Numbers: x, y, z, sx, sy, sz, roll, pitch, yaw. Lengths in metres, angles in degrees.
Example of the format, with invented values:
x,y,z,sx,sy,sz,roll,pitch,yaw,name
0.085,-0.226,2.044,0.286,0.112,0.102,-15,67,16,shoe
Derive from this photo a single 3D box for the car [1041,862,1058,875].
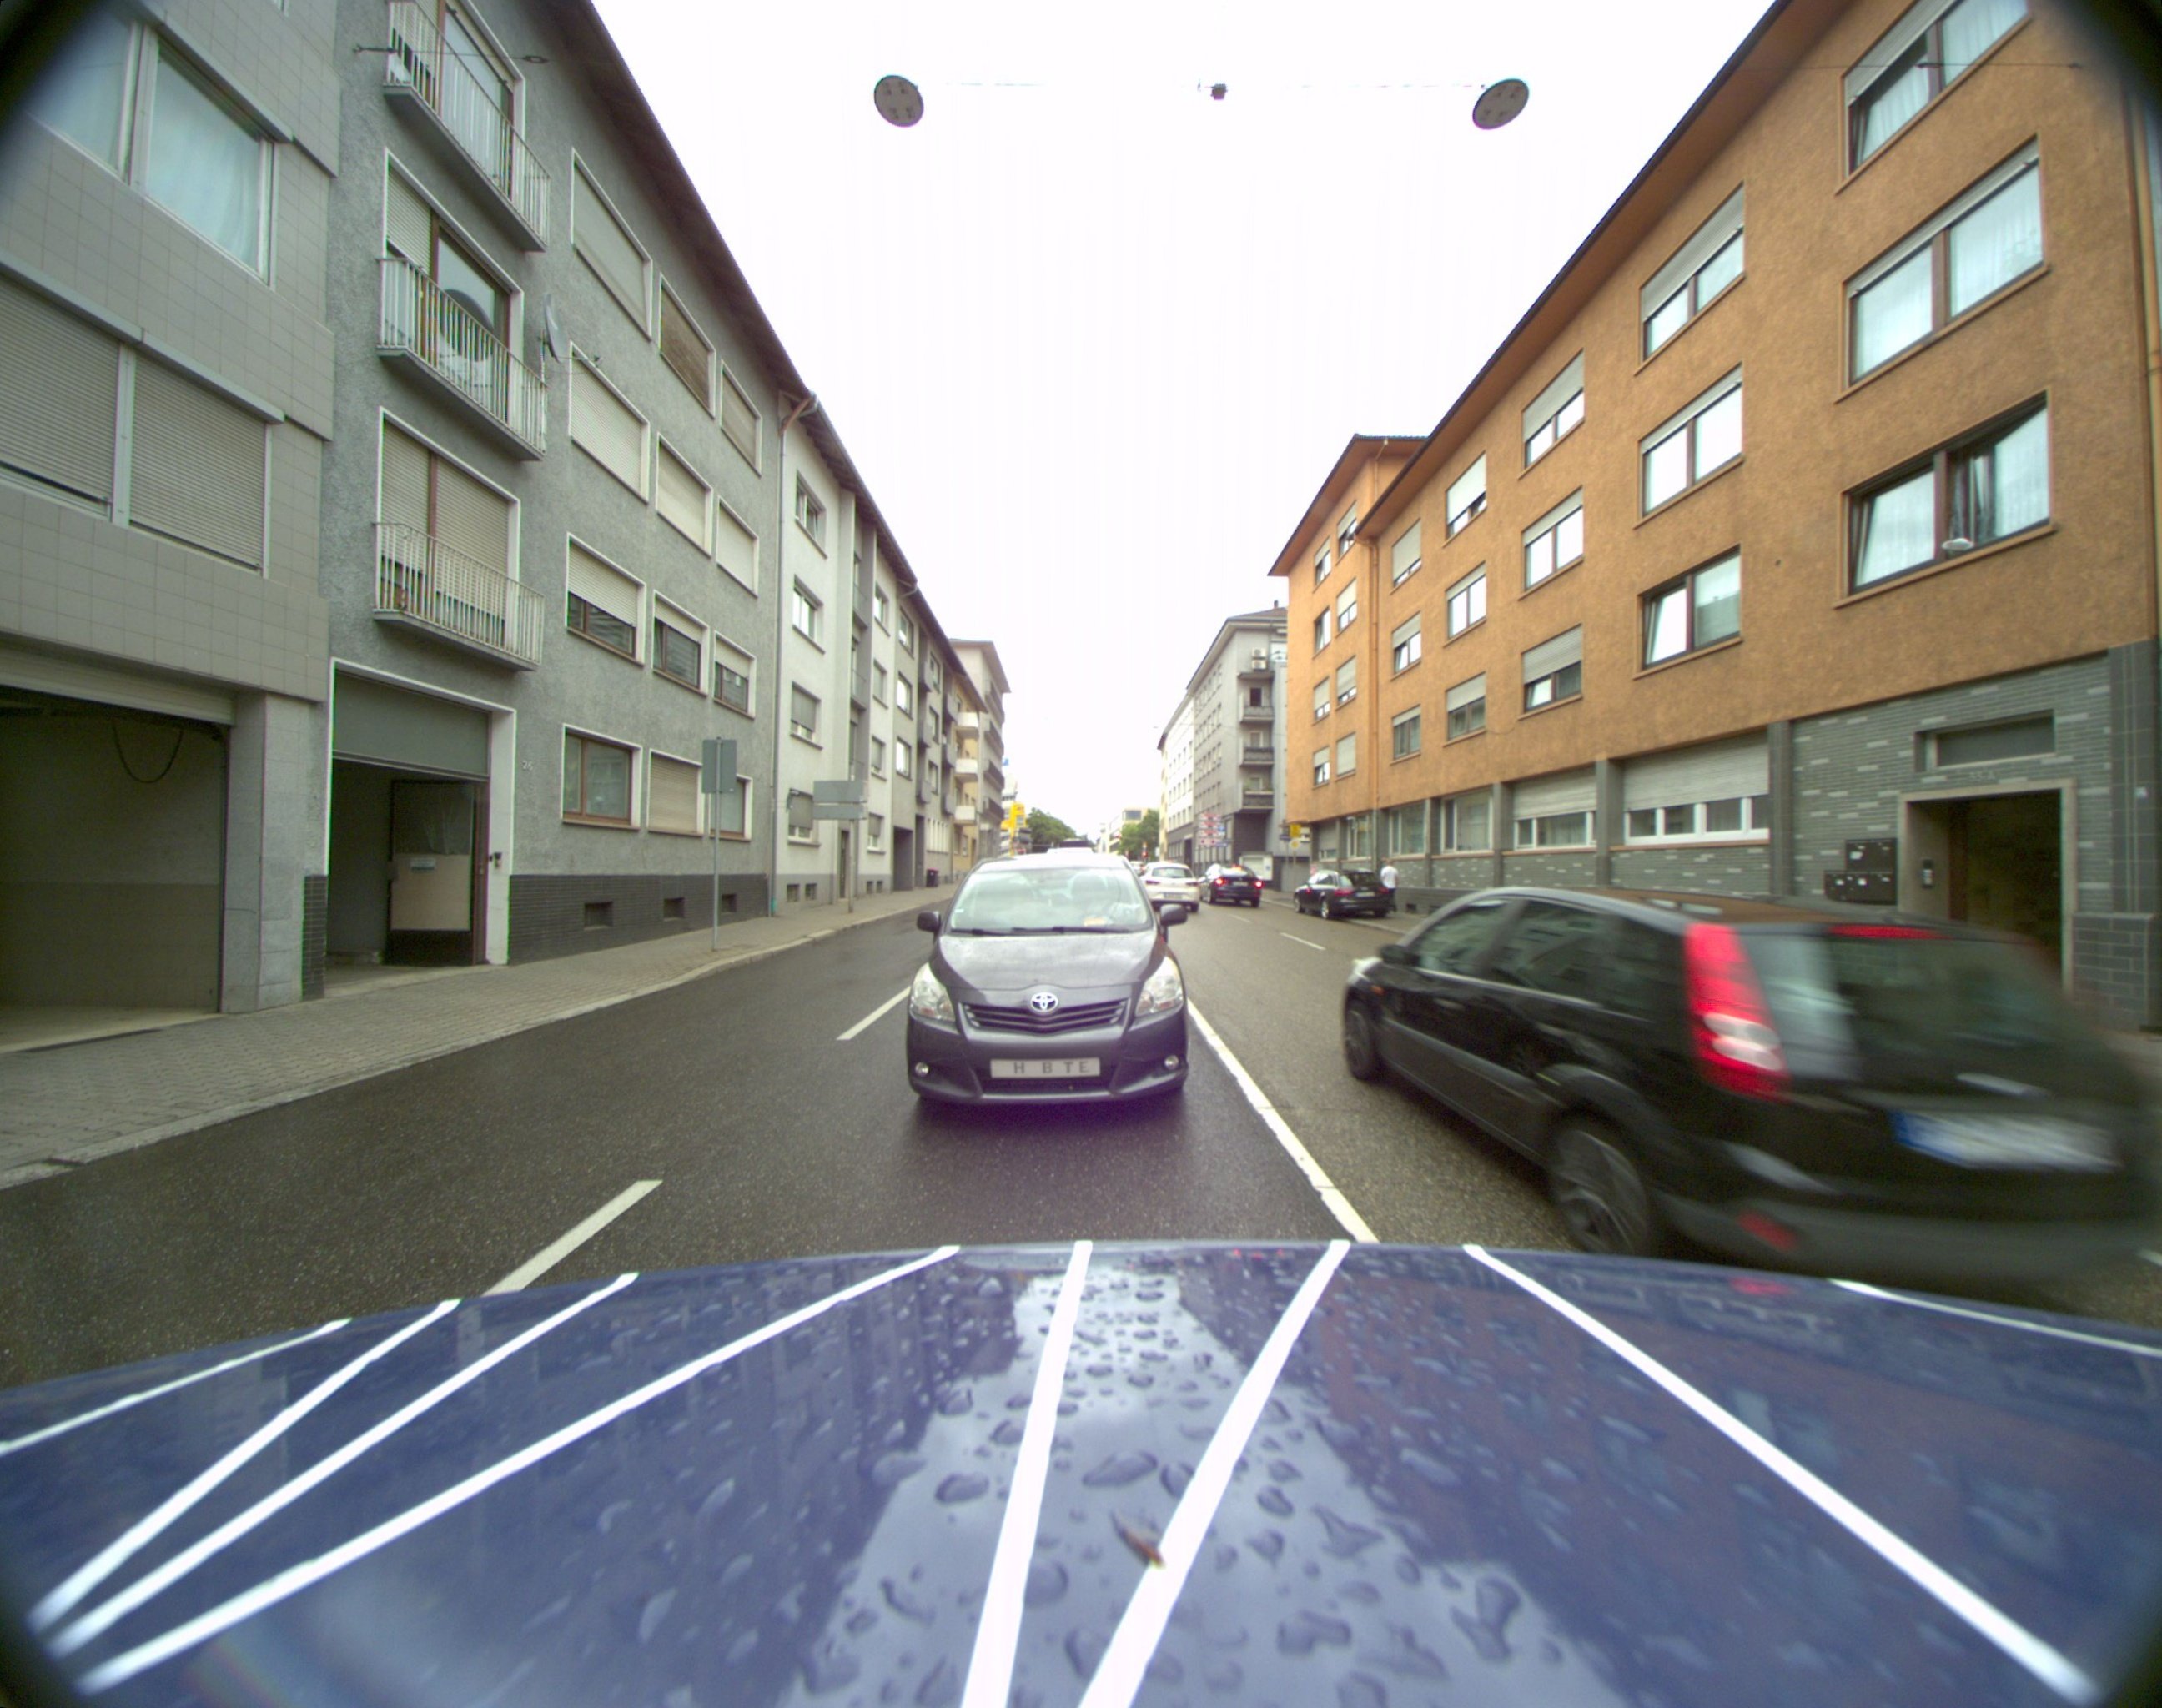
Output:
x,y,z,sx,sy,sz,roll,pitch,yaw,name
-3.812,1.796,92.952,1.856,1.369,4.217,-2,1,1,car

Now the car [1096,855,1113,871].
x,y,z,sx,sy,sz,roll,pitch,yaw,name
2.853,1.062,92.793,1.856,1.712,4.217,-2,1,1,car

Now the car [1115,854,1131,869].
x,y,z,sx,sy,sz,roll,pitch,yaw,name
5.363,0.912,97.371,1.856,1.712,4.217,-2,1,1,car

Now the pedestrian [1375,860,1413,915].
x,y,z,sx,sy,sz,roll,pitch,yaw,name
9.638,1.019,23.438,0.768,1.630,1.023,-2,1,5,pedestrian

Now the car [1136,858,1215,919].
x,y,z,sx,sy,sz,roll,pitch,yaw,name
2.682,0.932,22.497,1.749,1.530,4.052,2,1,-1,car

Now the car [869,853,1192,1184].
x,y,z,sx,sy,sz,roll,pitch,yaw,name
-0.246,0.899,6.259,1.699,1.712,4.217,-2,1,1,car

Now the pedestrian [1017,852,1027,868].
x,y,z,sx,sy,sz,roll,pitch,yaw,name
-6.587,0.694,84.382,1.119,1.741,0.961,1,1,-5,pedestrian

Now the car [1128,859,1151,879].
x,y,z,sx,sy,sz,roll,pitch,yaw,name
5.463,1.361,71.664,1.856,1.651,4.610,-2,1,1,car

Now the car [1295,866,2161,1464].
x,y,z,sx,sy,sz,roll,pitch,yaw,name
2.667,0.918,4.224,1.622,1.530,4.216,2,1,-1,car

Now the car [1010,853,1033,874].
x,y,z,sx,sy,sz,roll,pitch,yaw,name
-5.122,0.791,65.893,1.856,1.663,4.215,-2,1,-4,car

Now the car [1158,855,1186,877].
x,y,z,sx,sy,sz,roll,pitch,yaw,name
7.824,0.987,65.759,1.856,1.712,4.217,-2,1,1,car

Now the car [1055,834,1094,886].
x,y,z,sx,sy,sz,roll,pitch,yaw,name
-0.324,0.295,43.651,2.033,2.731,4.368,-2,1,1,car

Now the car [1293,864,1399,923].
x,y,z,sx,sy,sz,roll,pitch,yaw,name
8.050,1.139,23.467,1.799,1.466,4.217,-2,1,1,car

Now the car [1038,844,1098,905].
x,y,z,sx,sy,sz,roll,pitch,yaw,name
-0.389,0.634,26.608,1.856,1.882,4.217,-2,1,1,car

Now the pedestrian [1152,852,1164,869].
x,y,z,sx,sy,sz,roll,pitch,yaw,name
9.006,0.740,88.900,1.309,2.002,1.258,-2,1,1,pedestrian

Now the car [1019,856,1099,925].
x,y,z,sx,sy,sz,roll,pitch,yaw,name
-0.498,0.891,20.102,1.856,1.524,3.792,-2,1,1,car

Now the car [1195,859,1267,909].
x,y,z,sx,sy,sz,roll,pitch,yaw,name
5.558,1.065,28.716,1.699,1.530,4.435,4,1,0,car
